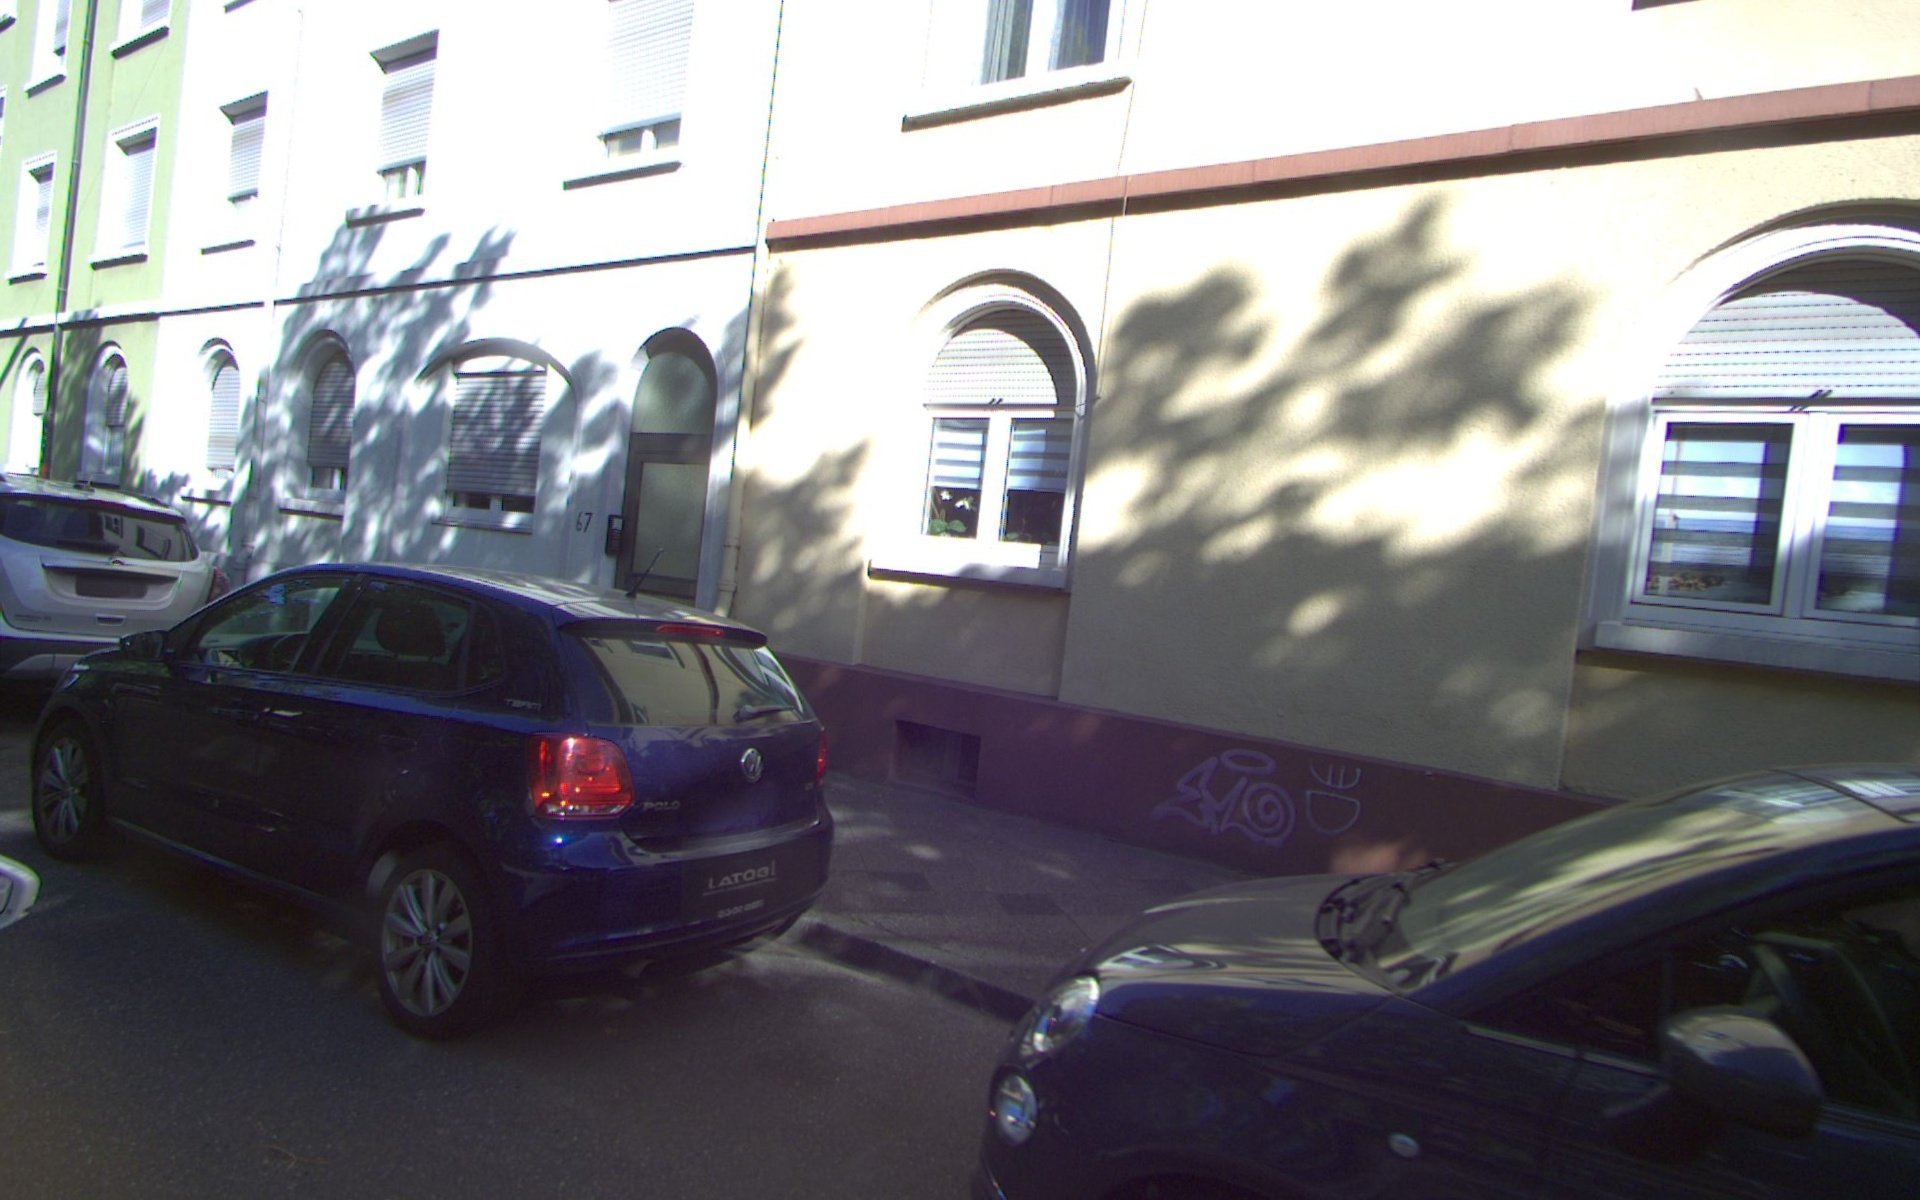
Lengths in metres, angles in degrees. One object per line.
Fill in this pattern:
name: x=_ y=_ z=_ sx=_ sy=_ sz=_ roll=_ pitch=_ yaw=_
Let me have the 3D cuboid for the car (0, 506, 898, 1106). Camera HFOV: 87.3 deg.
car: x=-2.348 y=0.531 z=4.337 sx=3.794 sy=1.411 sz=1.552 roll=7 pitch=1 yaw=28

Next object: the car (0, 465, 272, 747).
car: x=-7.276 y=-0.139 z=7.579 sx=4.087 sy=1.707 sz=1.725 roll=7 pitch=1 yaw=29

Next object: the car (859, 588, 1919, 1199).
car: x=1.768 y=0.968 z=1.782 sx=3.534 sy=1.517 sz=1.624 roll=7 pitch=1 yaw=30
